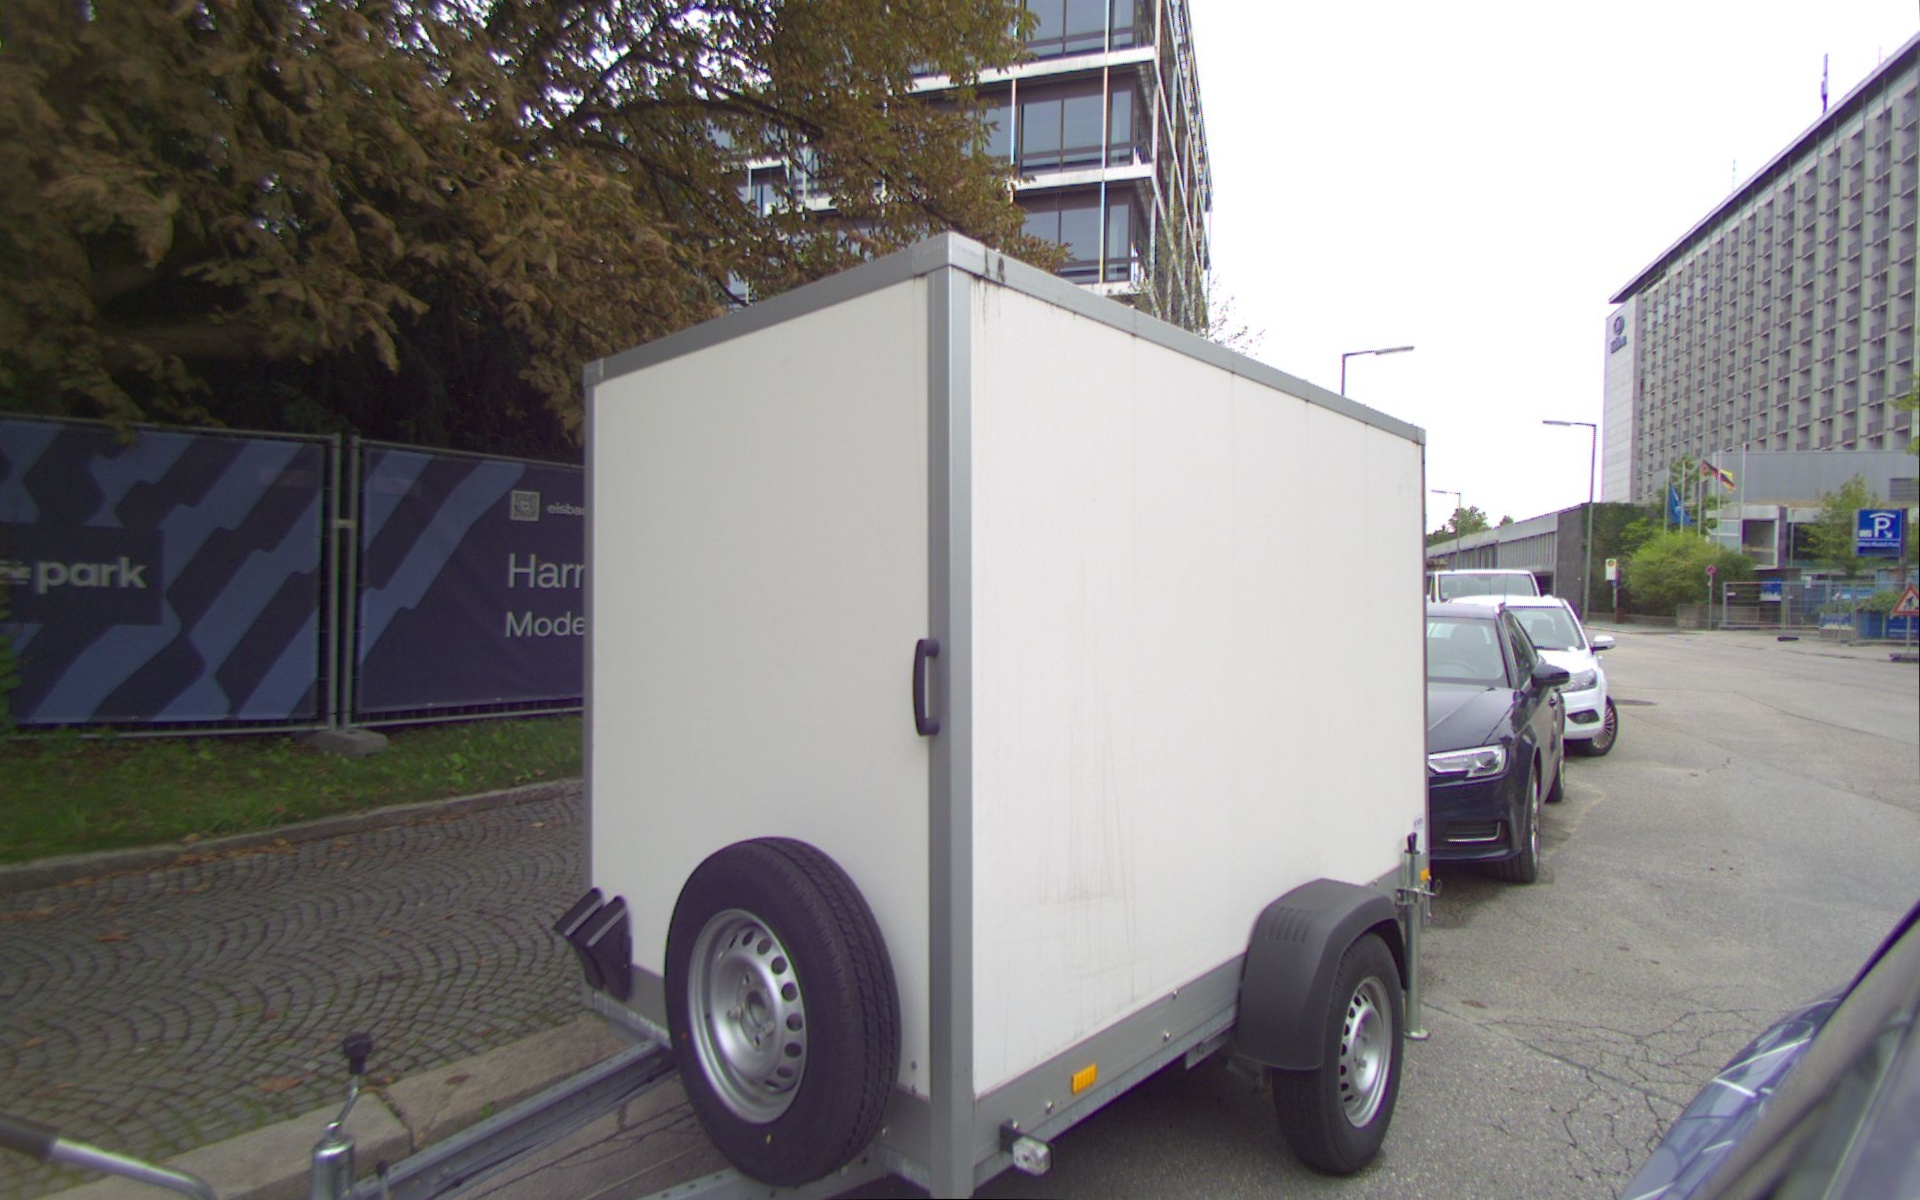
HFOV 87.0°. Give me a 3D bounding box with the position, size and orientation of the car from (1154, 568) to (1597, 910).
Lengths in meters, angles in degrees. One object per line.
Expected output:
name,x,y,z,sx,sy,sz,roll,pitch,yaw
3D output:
car,3.036,0.590,6.741,1.866,1.455,4.275,3,2,34

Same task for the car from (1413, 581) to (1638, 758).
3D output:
car,6.118,0.573,11.011,1.757,1.504,4.176,2,1,30

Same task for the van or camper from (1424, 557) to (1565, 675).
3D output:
van or camper,10.625,0.208,20.488,1.977,2.038,5.336,1,1,22

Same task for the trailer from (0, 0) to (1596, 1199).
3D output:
trailer,-0.195,0.302,2.353,1.810,2.038,4.756,2,2,45

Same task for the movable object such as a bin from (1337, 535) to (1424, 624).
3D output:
movable object such as a bin,19.587,-0.977,47.659,3.211,3.762,8.952,1,1,19

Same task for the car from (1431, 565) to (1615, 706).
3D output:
car,8.211,0.397,15.155,1.979,1.749,4.413,1,2,24
